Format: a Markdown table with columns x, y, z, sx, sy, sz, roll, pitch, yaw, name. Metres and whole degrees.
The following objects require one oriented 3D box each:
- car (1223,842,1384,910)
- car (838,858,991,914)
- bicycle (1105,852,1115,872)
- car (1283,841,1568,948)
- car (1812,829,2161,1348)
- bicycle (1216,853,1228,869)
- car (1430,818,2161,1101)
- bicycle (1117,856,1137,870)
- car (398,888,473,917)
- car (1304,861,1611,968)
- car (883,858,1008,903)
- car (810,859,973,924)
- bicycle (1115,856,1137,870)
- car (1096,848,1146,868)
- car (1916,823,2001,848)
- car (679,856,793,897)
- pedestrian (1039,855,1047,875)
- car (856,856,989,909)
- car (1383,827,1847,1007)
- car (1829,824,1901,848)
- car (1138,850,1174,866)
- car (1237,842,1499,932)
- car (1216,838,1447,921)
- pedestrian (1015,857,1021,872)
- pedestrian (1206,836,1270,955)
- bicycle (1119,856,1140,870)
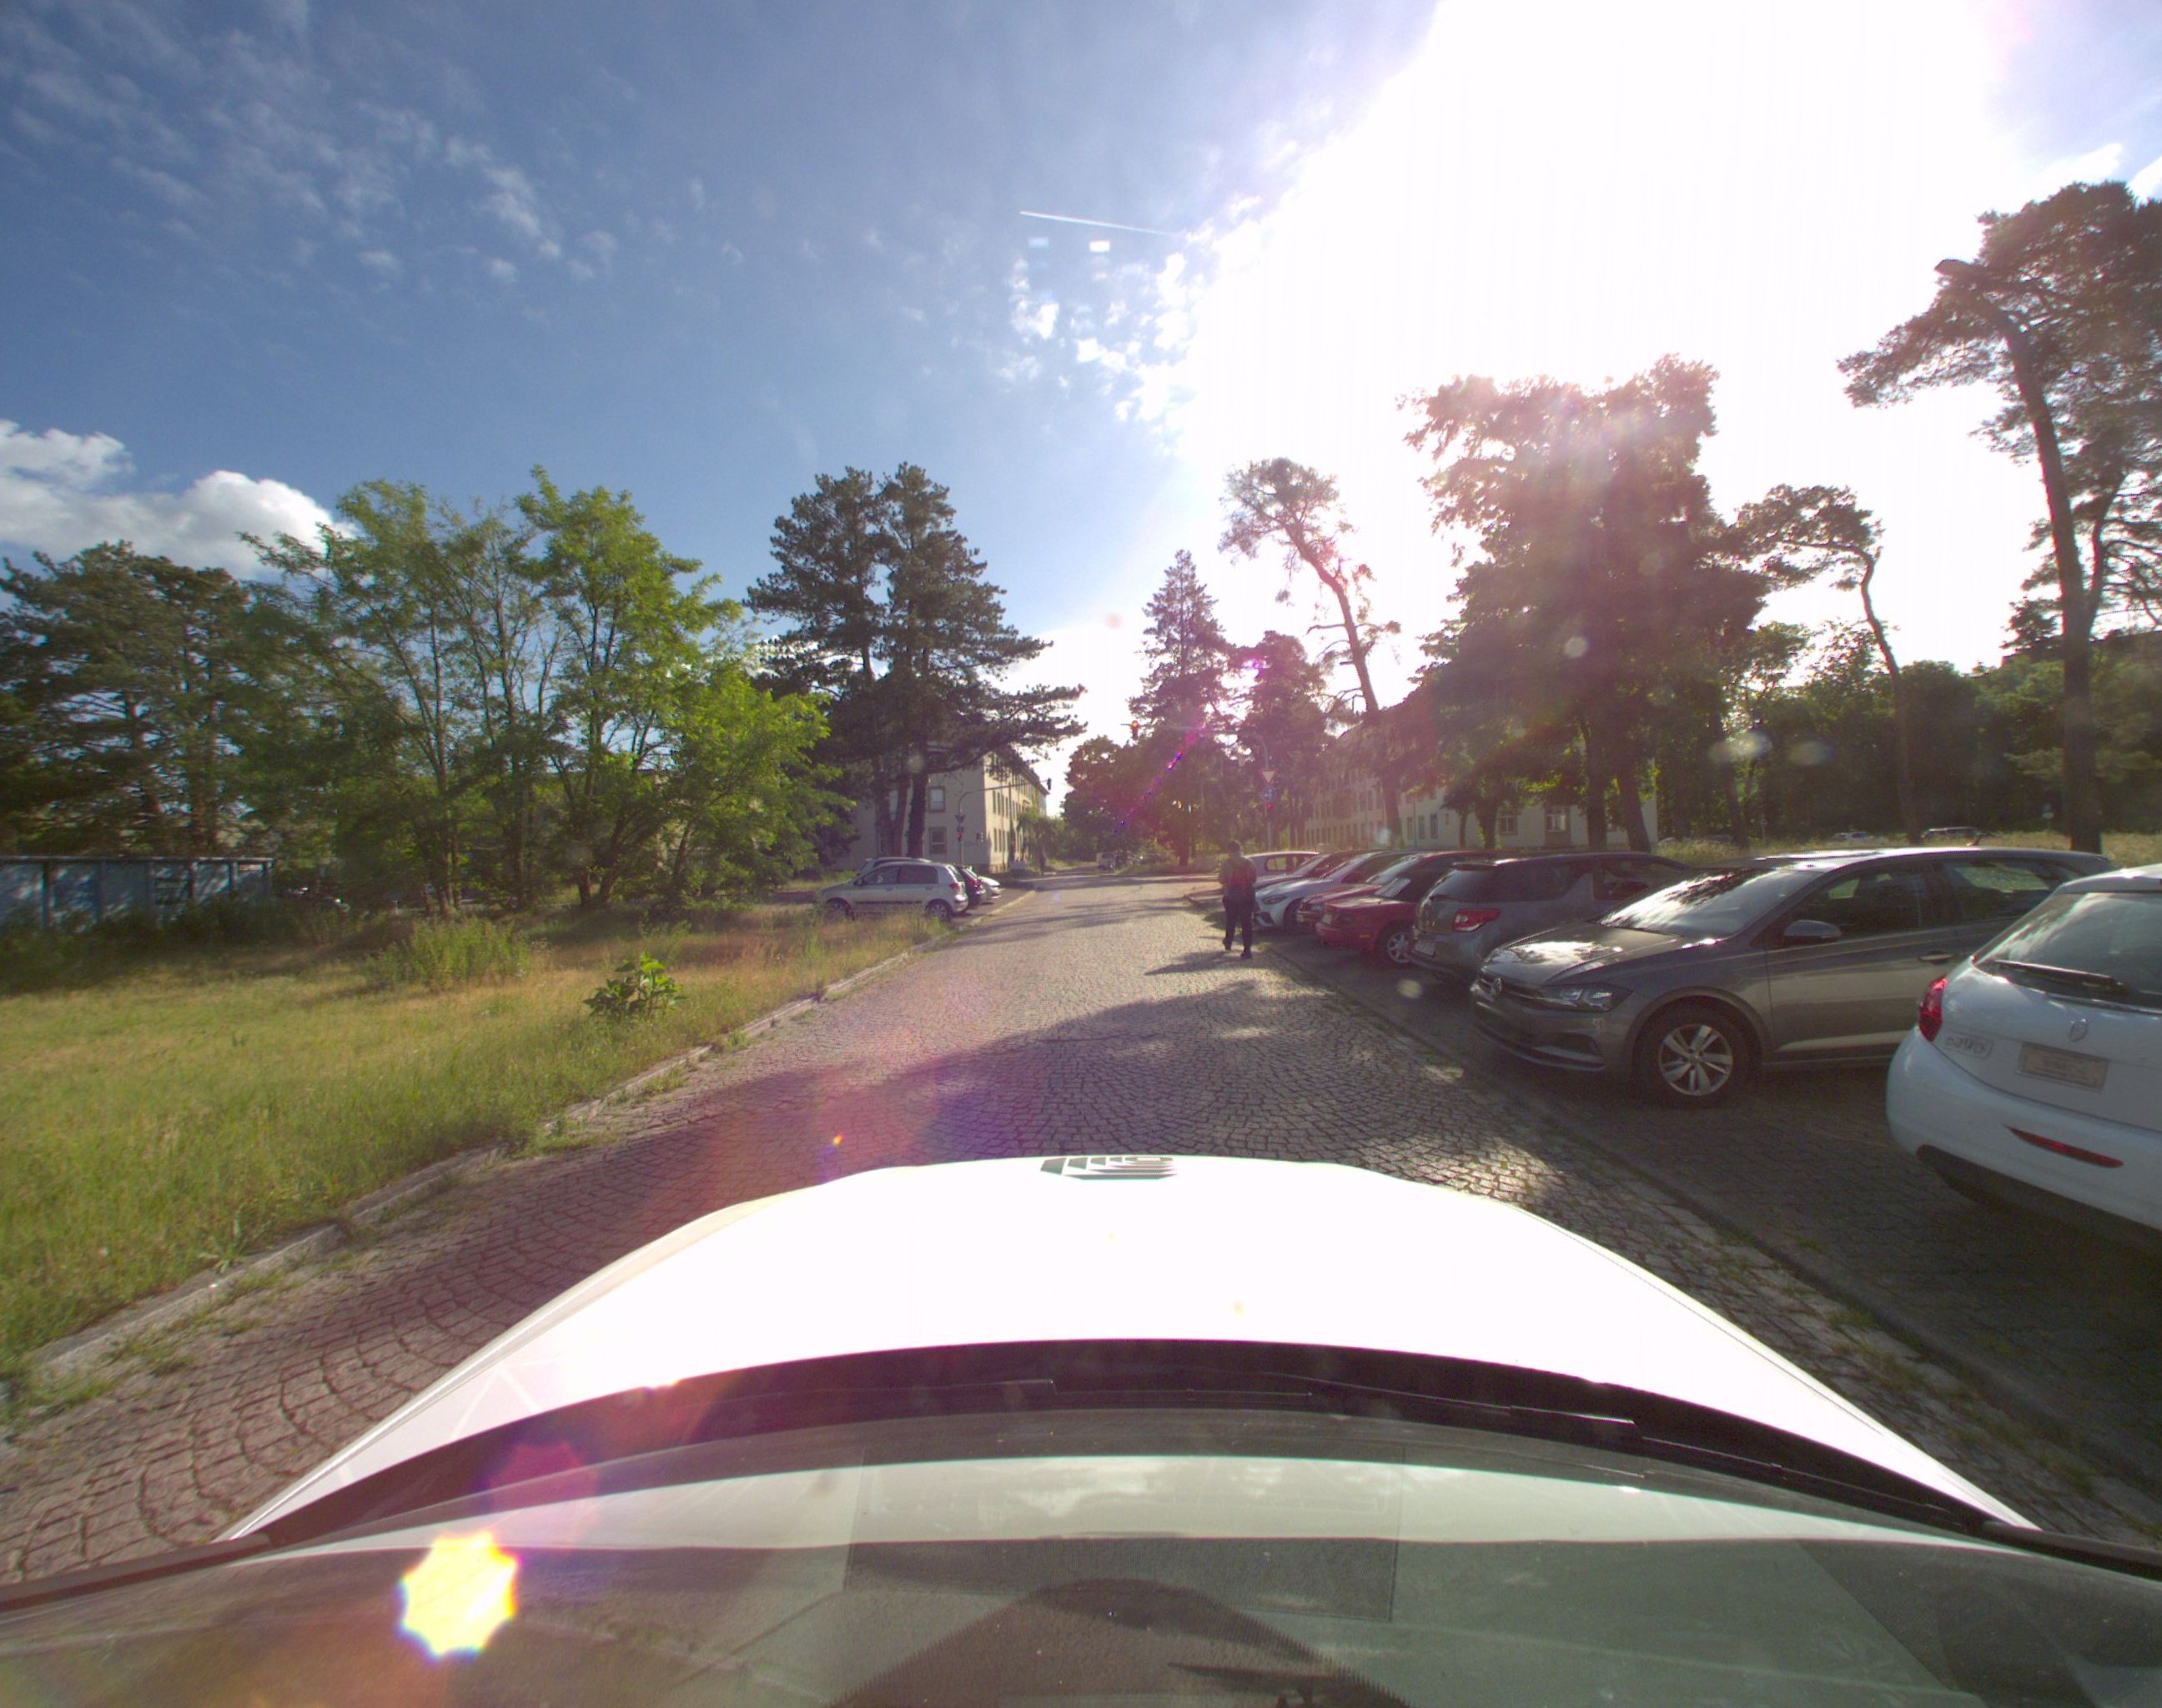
| x | y | z | sx | sy | sz | roll | pitch | yaw | name |
| --- | --- | --- | --- | --- | --- | --- | --- | --- | --- |
| 5.663 | 0.548 | 21.024 | 3.659 | 1.443 | 1.666 | -4 | 0 | 1 | car |
| -4.637 | 0.879 | 23.095 | 3.924 | 1.445 | 1.691 | 1 | 0 | 0 | car |
| 2.358 | 0.606 | 66.624 | 0.750 | 1.580 | 2.537 | -2 | 0 | 1 | bicycle |
| 5.532 | 0.629 | 13.423 | 3.965 | 1.448 | 1.656 | -3 | 0 | 1 | car |
| 4.958 | 0.624 | 2.641 | 3.631 | 1.492 | 1.635 | -2 | 0 | 2 | car |
| 10.064 | 0.492 | 57.990 | 0.717 | 1.115 | 2.592 | -2 | 0 | 12 | bicycle |
| 4.666 | 0.618 | 5.582 | 3.765 | 1.450 | 1.759 | -3 | 0 | 3 | car |
| 3.988 | 0.803 | 70.590 | 1.723 | 1.112 | 0.484 | -2 | 0 | -2 | bicycle |
| -45.611 | 3.393 | 57.675 | 1.856 | 1.778 | 4.007 | -2 | 0 | 4 | car |
| 4.953 | 0.772 | 11.045 | 3.447 | 1.242 | 1.537 | -2 | 0 | 2 | car |
| -4.714 | 0.908 | 28.620 | 3.966 | 1.496 | 1.776 | 0 | 0 | 6 | car |
| -4.664 | 0.906 | 20.432 | 3.674 | 1.527 | 1.699 | 0 | 0 | -1 | car |
| 3.901 | 0.805 | 70.047 | 1.829 | 1.112 | 0.495 | -2 | 0 | -2 | bicycle |
| 4.292 | 0.396 | 87.959 | 5.063 | 1.918 | 1.995 | -2 | 0 | -8 | car |
| 58.717 | -1.249 | 54.558 | 3.619 | 1.497 | 1.769 | -2 | 0 | 4 | car |
| -15.186 | 0.973 | 36.001 | 4.127 | 1.608 | 2.011 | -2 | 0 | 2 | car |
| -3.329 | 0.939 | 70.762 | 0.604 | 1.752 | 0.630 | -2 | 0 | 1 | pedestrian |
| -4.971 | 0.872 | 25.847 | 3.866 | 1.615 | 1.661 | 0 | 0 | 0 | car |
| 5.302 | 0.592 | 8.465 | 3.649 | 1.455 | 1.667 | -4 | 0 | 1 | car |
| 59.721 | -1.349 | 62.067 | 3.619 | 1.671 | 1.769 | -2 | 0 | 4 | car |
| 8.406 | 0.452 | 91.778 | 3.738 | 1.580 | 1.738 | -2 | 0 | -6 | car |
| 5.401 | 0.600 | 15.732 | 4.384 | 1.388 | 1.789 | -3 | 0 | 0 | car |
| 5.563 | 0.545 | 18.487 | 4.606 | 1.455 | 1.869 | -4 | 0 | -1 | car |
| -6.511 | 1.085 | 84.239 | 0.606 | 1.560 | 0.544 | -1 | 0 | -5 | pedestrian |
| 2.371 | 0.609 | 12.375 | 0.750 | 1.725 | 0.829 | 3 | 0 | 1 | pedestrian |
| 4.246 | 0.759 | 71.266 | 1.723 | 1.164 | 0.561 | -2 | 0 | -2 | bicycle |
